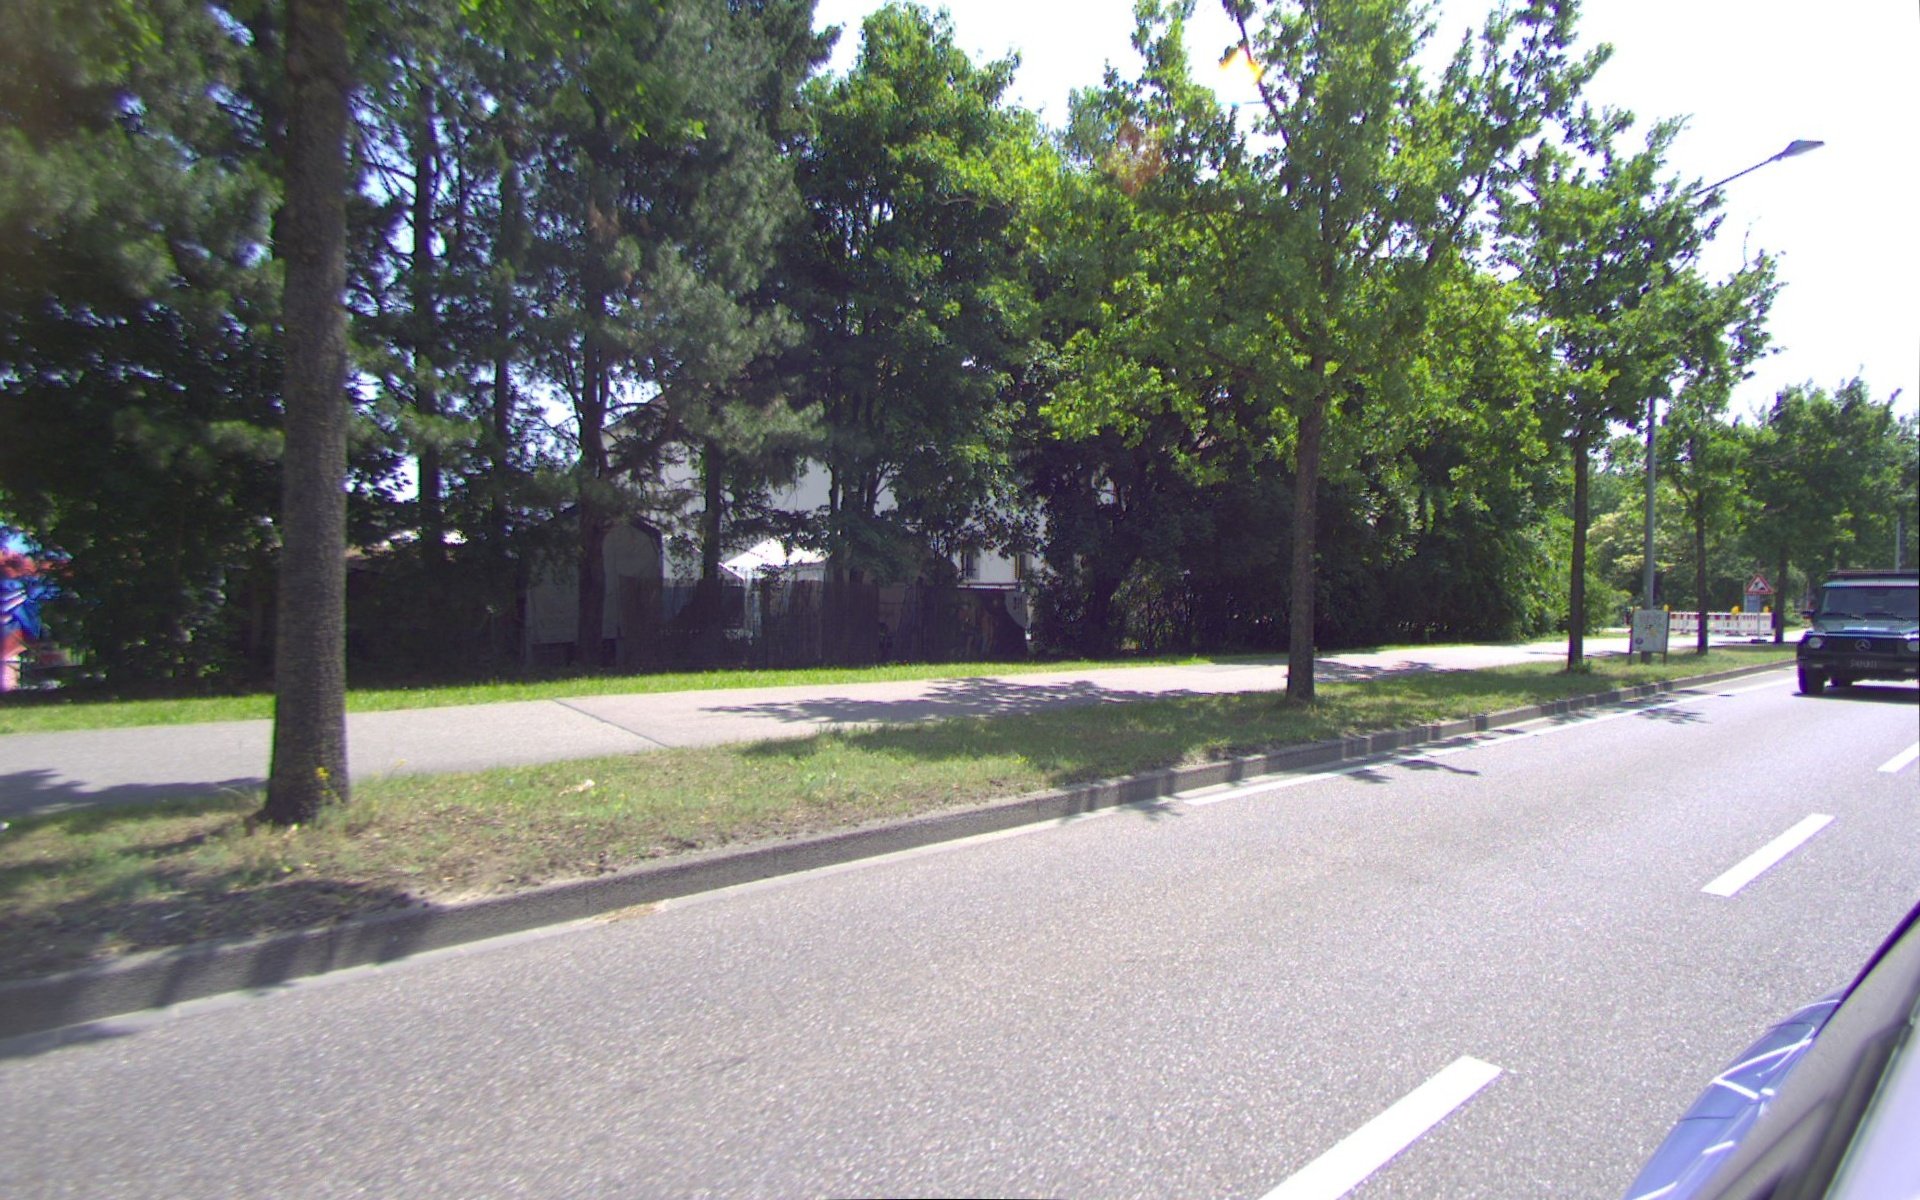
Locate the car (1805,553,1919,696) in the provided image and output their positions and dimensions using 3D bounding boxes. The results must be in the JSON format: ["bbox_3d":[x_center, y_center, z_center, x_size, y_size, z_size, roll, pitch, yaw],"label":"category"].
[{"bbox_3d":[15.959,0.354,17.213,4.480,2.180,1.839,0,1,-42],"label":"car"}]
